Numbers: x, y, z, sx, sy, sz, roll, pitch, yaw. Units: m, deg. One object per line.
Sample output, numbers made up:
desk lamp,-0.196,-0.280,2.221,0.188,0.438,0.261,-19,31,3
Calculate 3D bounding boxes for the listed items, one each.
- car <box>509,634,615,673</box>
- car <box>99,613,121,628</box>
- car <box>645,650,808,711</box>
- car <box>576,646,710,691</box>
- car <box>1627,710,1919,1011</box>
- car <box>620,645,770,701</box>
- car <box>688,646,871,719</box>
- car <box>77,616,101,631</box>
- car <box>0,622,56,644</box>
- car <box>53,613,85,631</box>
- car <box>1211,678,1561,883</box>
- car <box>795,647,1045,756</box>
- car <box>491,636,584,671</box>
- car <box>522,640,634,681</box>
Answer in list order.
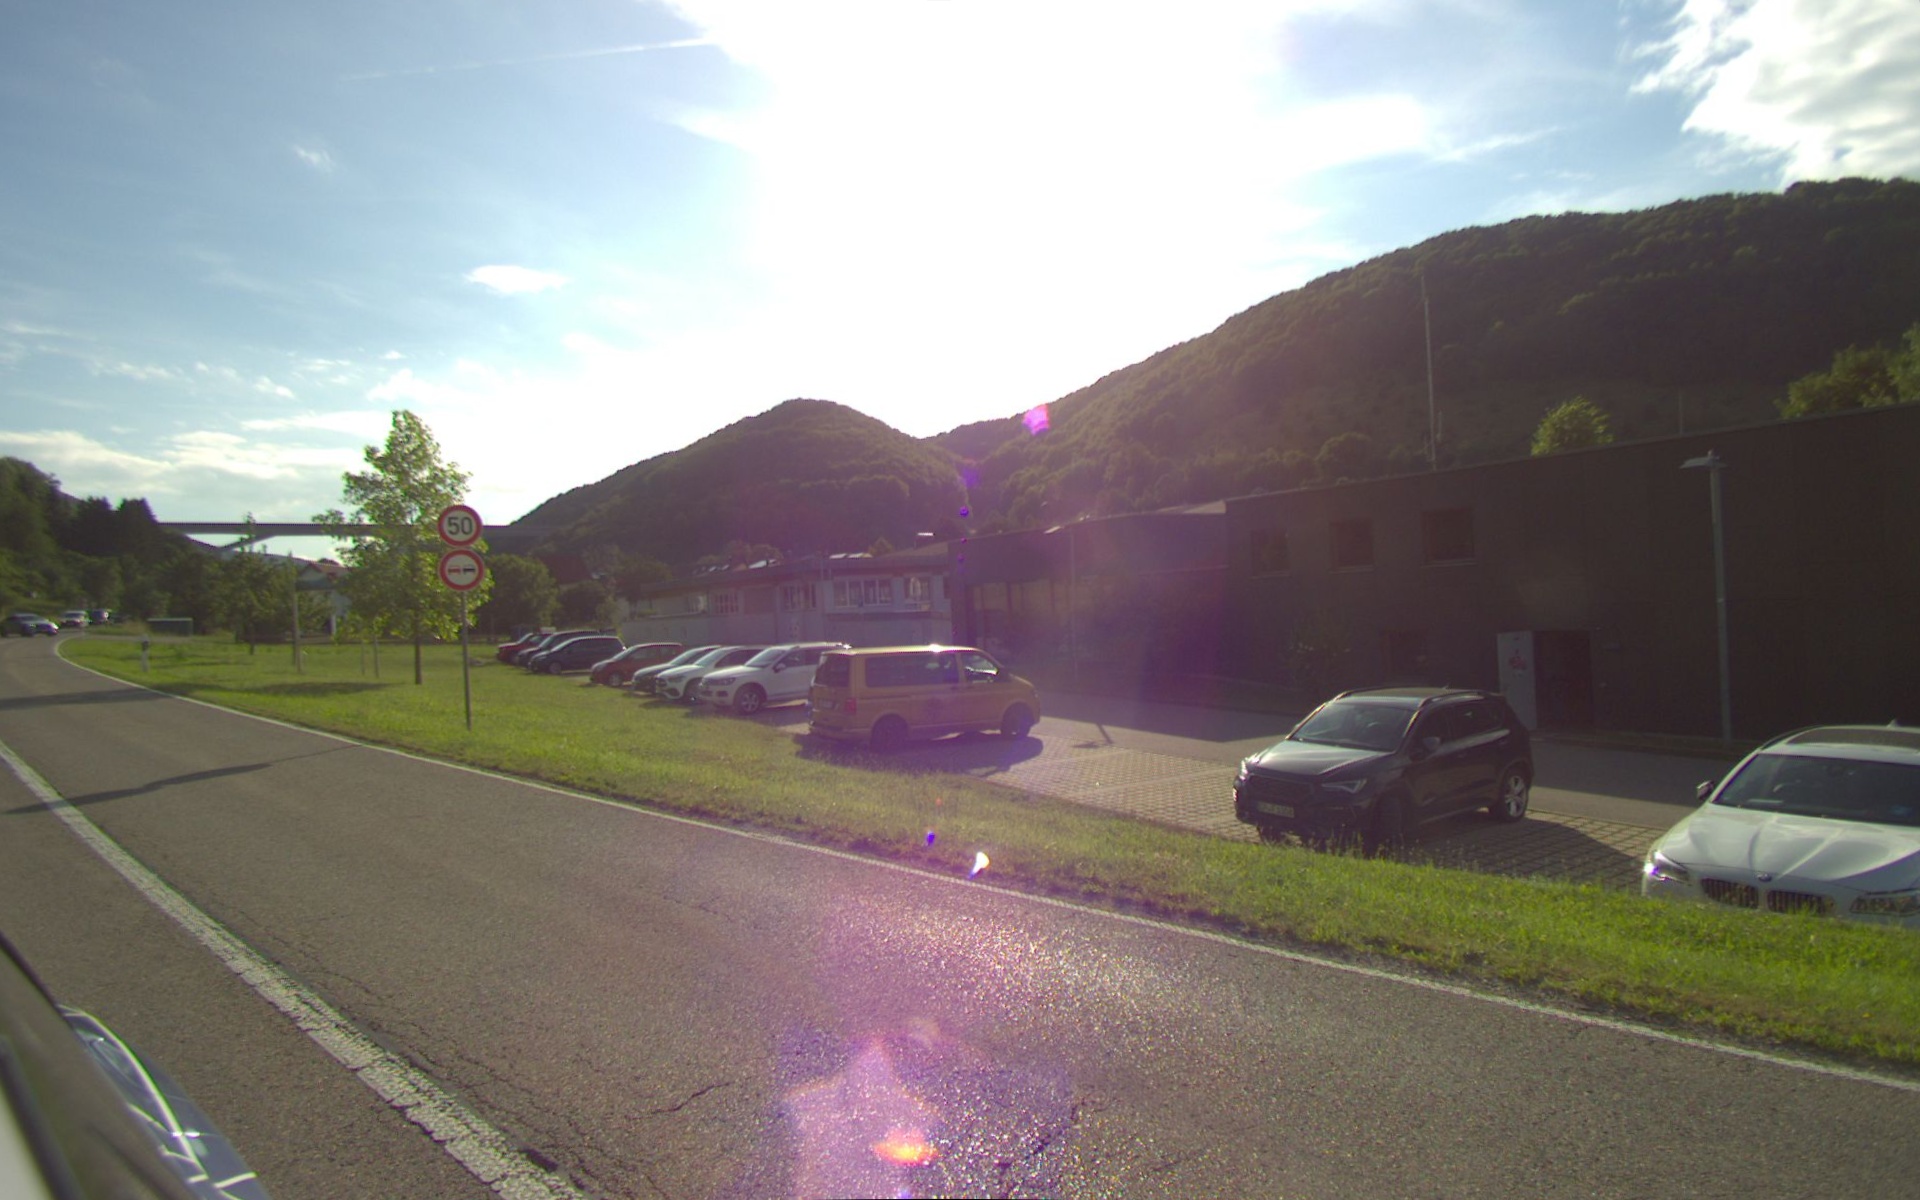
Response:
car,-19.662,2.586,50.061,4.596,1.776,2.005,0,-2,-33
car,-107.772,2.601,128.350,1.967,1.730,4.009,0,-2,-37
car,-6.999,2.355,30.402,4.371,1.599,2.006,0,-2,-32
car,-11.703,2.488,37.388,4.371,1.463,2.006,0,-2,-32
car,7.462,1.842,8.202,4.578,1.508,1.917,0,-2,-36
car,-8.710,2.349,33.324,4.372,1.595,2.005,0,-2,-33
car,-4.898,2.176,27.592,4.477,1.714,2.006,0,-2,-32
car,-101.539,2.739,117.999,1.652,1.659,3.355,-1,-1,-33
car,-68.284,2.391,73.952,4.754,1.539,1.980,-2,-2,30
car,-93.886,2.342,106.722,1.769,1.749,4.296,-1,-1,-31
car,5.161,1.944,12.053,4.227,1.650,1.917,-2,-1,-37
car,-0.756,1.924,20.240,4.584,1.827,2.006,0,-2,-32
car,-22.672,2.847,54.346,4.372,1.733,2.005,0,-2,-33
car,-17.296,2.689,45.855,4.372,1.595,2.005,-1,-1,-33
